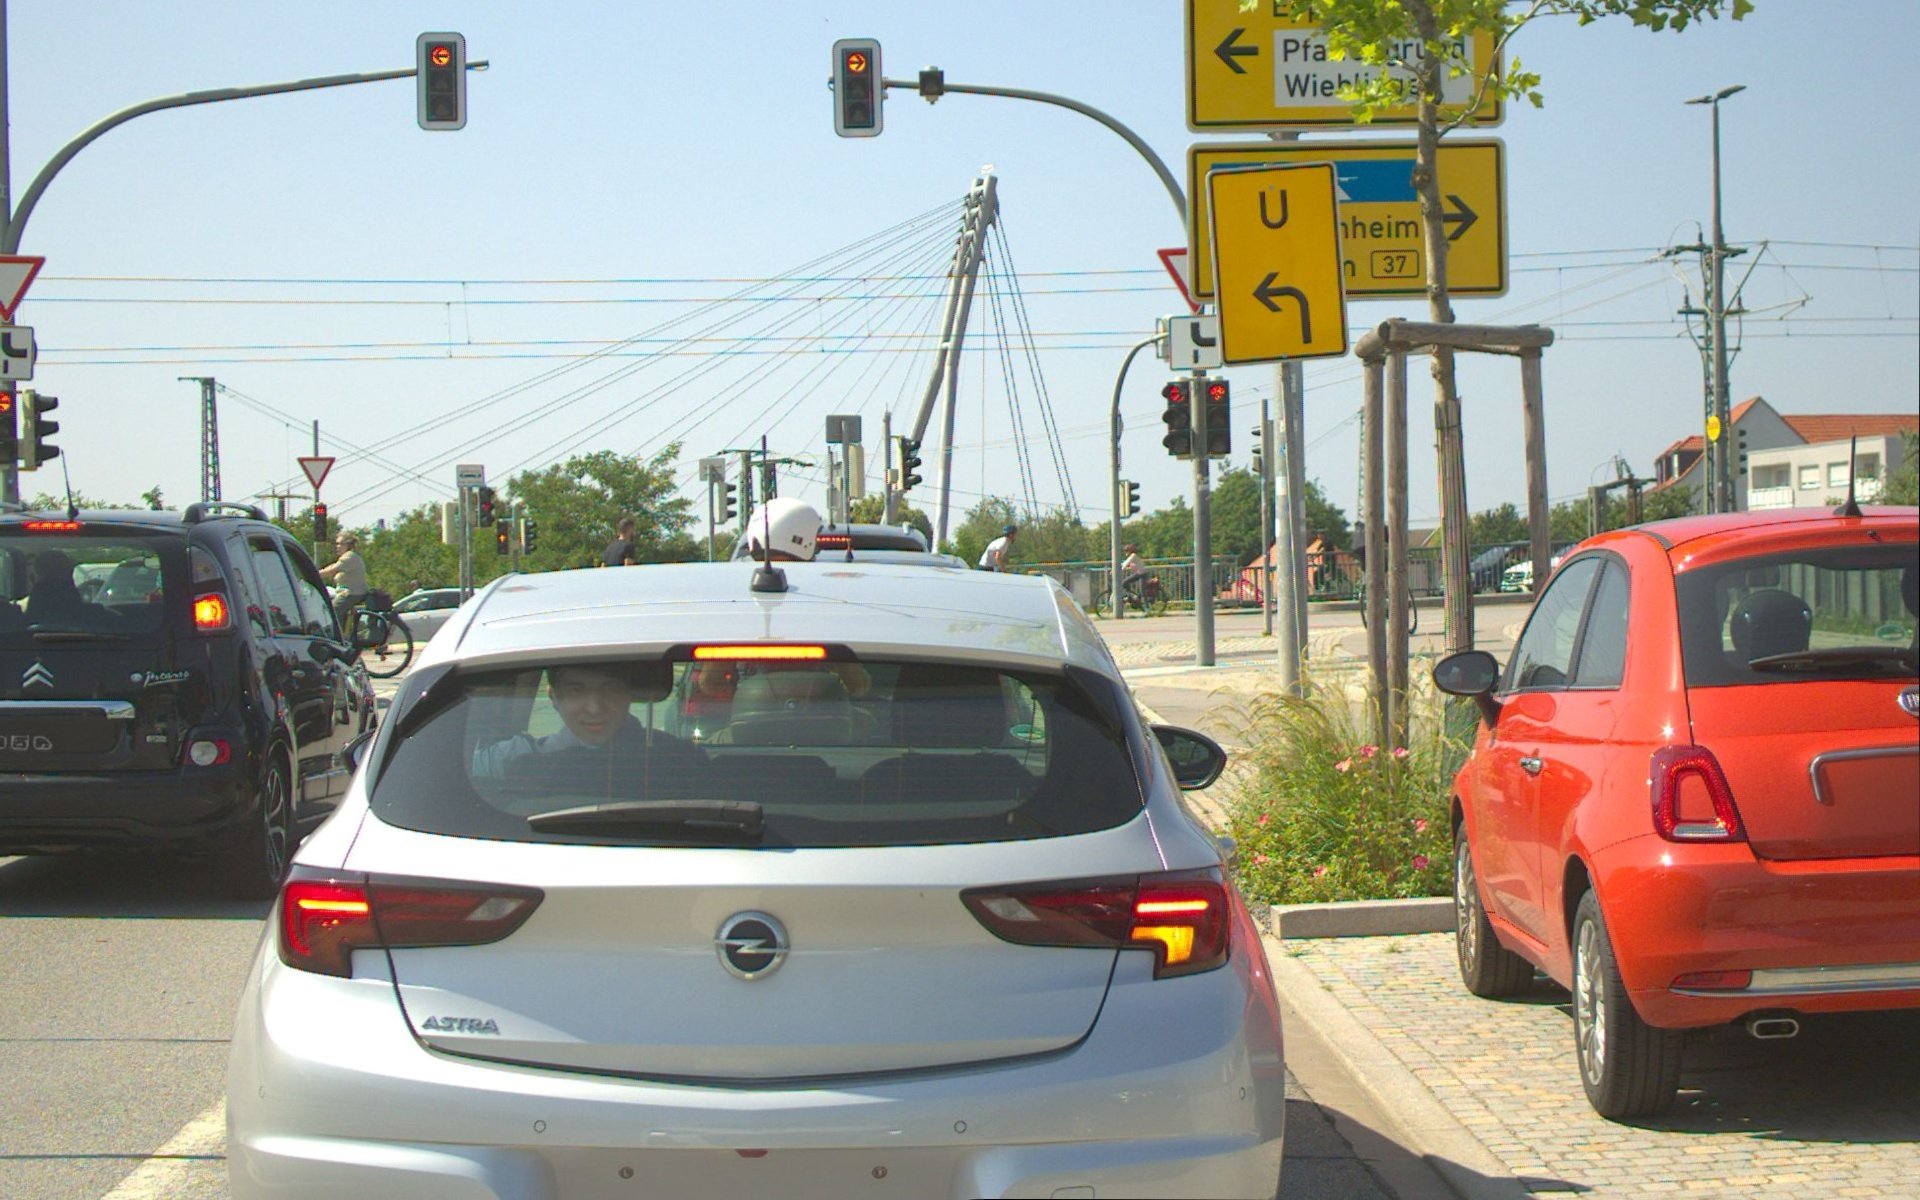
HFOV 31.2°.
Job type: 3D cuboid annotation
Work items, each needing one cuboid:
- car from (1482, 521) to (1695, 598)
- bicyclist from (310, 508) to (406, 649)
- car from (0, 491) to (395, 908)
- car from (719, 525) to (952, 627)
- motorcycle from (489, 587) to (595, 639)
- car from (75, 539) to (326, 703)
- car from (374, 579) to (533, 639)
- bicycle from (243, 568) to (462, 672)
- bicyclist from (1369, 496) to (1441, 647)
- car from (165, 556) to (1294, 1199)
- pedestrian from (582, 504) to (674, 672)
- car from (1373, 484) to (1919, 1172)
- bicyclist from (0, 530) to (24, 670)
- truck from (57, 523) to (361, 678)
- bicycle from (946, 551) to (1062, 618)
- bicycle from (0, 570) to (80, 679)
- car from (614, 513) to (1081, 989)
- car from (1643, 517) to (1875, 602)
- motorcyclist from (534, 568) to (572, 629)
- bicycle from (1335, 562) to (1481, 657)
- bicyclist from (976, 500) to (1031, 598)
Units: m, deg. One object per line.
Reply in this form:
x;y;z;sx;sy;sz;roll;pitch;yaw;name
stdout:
14.098;-0.894;77.185;4.244;1.668;2.001;0;0;-18;car
-6.823;-0.240;39.002;0.945;1.563;0.823;1;0;-3;bicyclist
-3.702;0.383;15.306;1.803;1.616;3.917;0;0;-1;car
-2.241;-0.439;62.708;4.034;1.808;1.931;1;0;5;car
-10.344;0.319;85.127;2.536;1.229;0.648;1;0;-1;motorcycle
-6.772;0.174;30.936;1.587;1.390;3.340;0;0;-1;car
-11.260;0.188;76.533;3.213;1.299;1.523;0;0;7;car
-6.879;0.227;39.002;2.357;1.123;0.677;1;0;-3;bicycle
5.625;-0.360;43.433;0.594;1.881;0.636;1;0;-40;bicyclist
-0.391;0.668;7.302;1.690;1.514;4.271;0;1;-1;car
-3.718;-0.128;38.531;0.740;1.857;0.754;1;0;-31;pedestrian
2.344;0.473;10.053;1.669;1.534;3.917;-2;2;-1;car
-10.955;-0.008;38.480;0.822;1.554;0.863;1;0;-11;bicyclist
-12.858;-0.003;59.045;4.694;2.532;2.000;1;0;4;truck
0.724;-0.253;57.109;1.866;1.064;0.578;1;0;-5;bicycle
-11.225;0.343;38.466;2.523;1.130;0.729;-5;3;-10;bicycle
-0.444;0.537;14.170;1.634;1.668;3.745;1;0;-1;car
15.203;-0.775;65.418;3.973;1.546;1.676;-1;0;-17;car
-10.079;-0.038;85.177;0.809;1.471;0.885;1;0;-1;motorcyclist
5.681;0.114;43.487;2.081;1.174;0.555;0;1;-40;bicycle
0.718;-0.847;57.132;0.771;1.604;0.949;1;0;-6;bicyclist
